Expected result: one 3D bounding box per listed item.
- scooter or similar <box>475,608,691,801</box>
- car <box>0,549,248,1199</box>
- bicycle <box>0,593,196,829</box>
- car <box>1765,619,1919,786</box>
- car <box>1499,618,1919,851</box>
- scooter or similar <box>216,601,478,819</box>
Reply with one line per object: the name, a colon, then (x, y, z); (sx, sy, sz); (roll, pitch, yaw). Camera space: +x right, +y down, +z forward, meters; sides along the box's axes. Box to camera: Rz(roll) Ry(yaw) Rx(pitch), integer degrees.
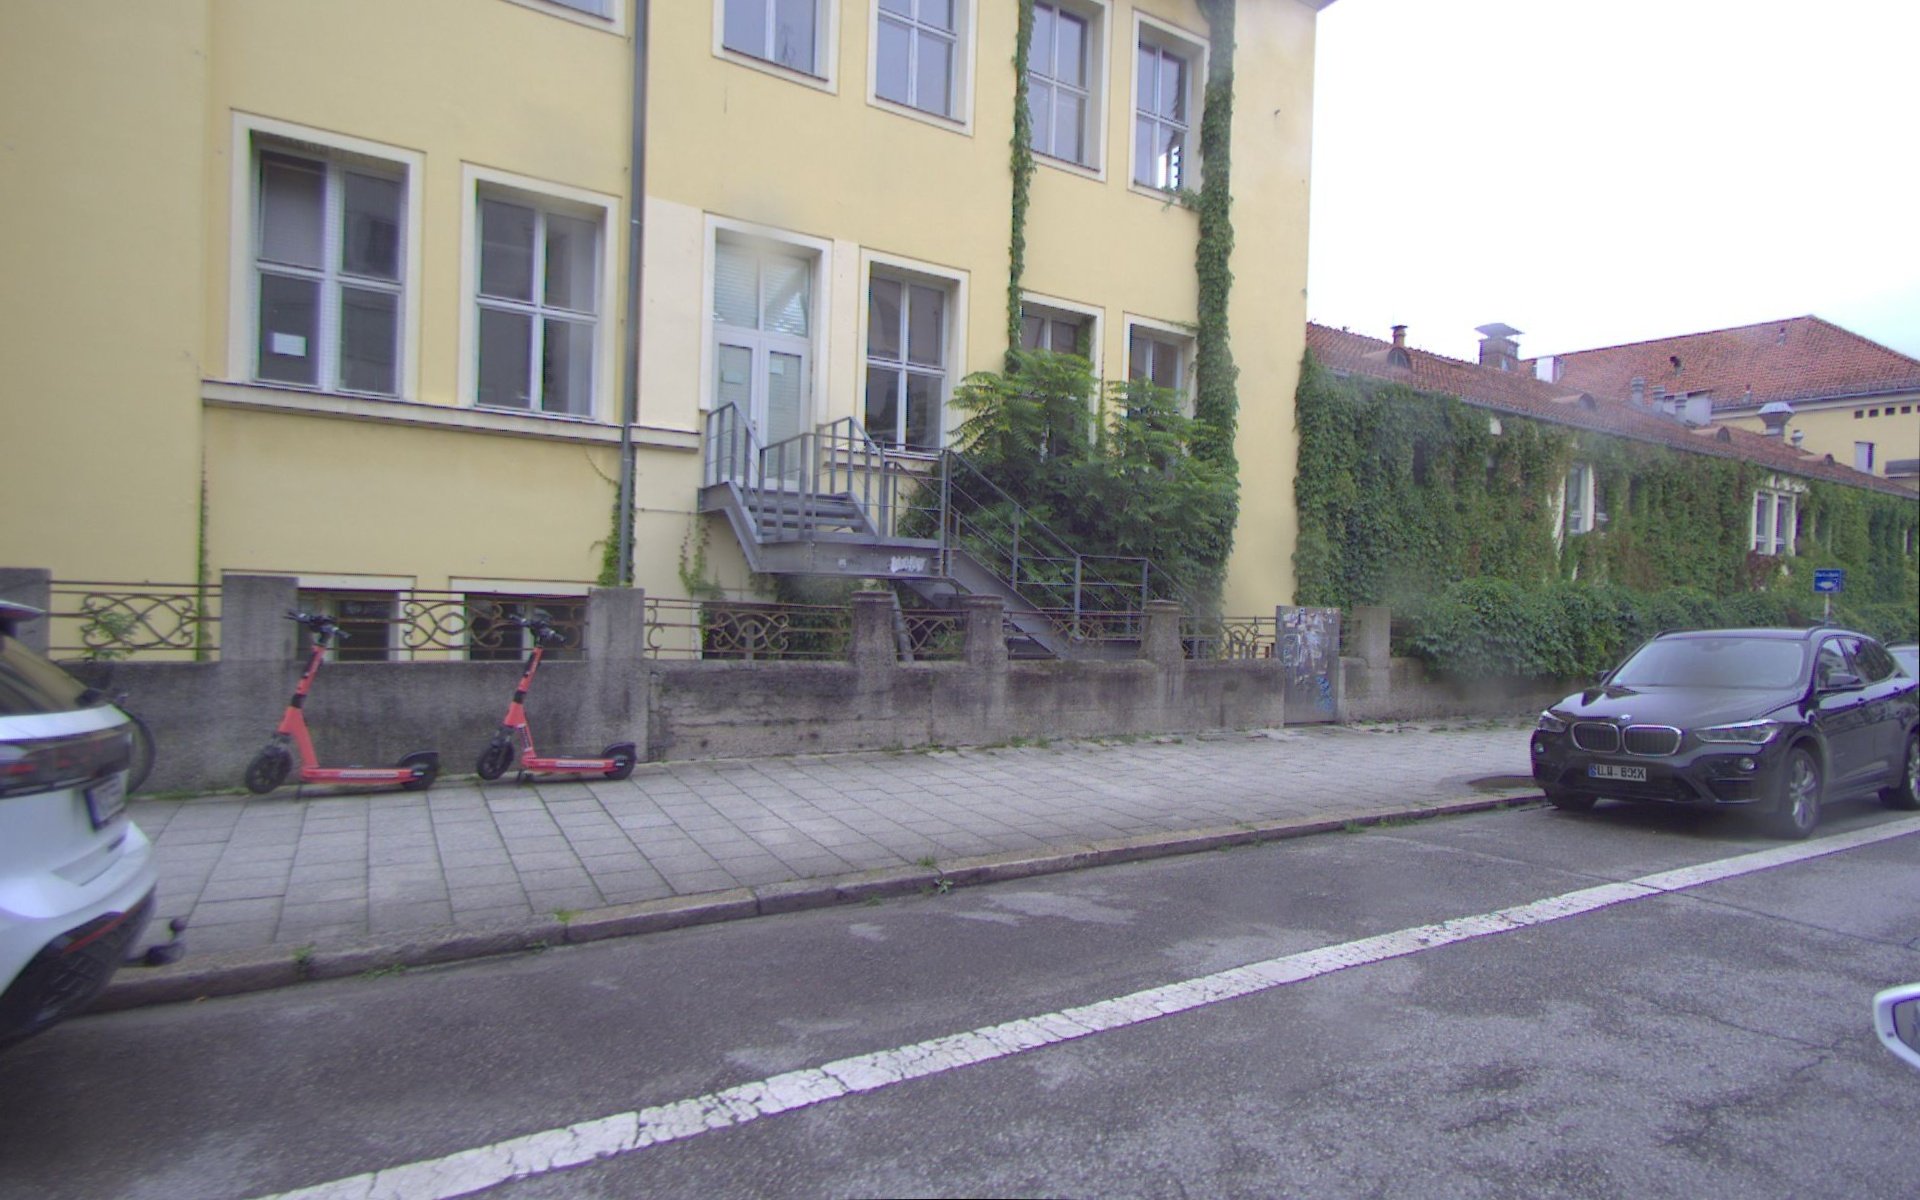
scooter or similar: (-2.925, 0.771, 7.839); (1.483, 1.387, 0.557); (2, -1, -30)
car: (-4.499, 0.652, 2.081); (4.805, 1.655, 1.735); (2, -2, -33)
bicycle: (-5.906, 0.631, 5.951); (2.088, 1.346, 0.677); (2, 0, -30)
car: (11.157, 1.098, 11.487); (4.417, 1.651, 1.715); (2, -3, -32)
car: (7.035, 1.039, 9.027); (4.766, 1.607, 1.779); (2, -3, -33)
scooter or similar: (-4.223, 0.719, 7.020); (1.483, 1.387, 0.557); (2, -1, -30)
